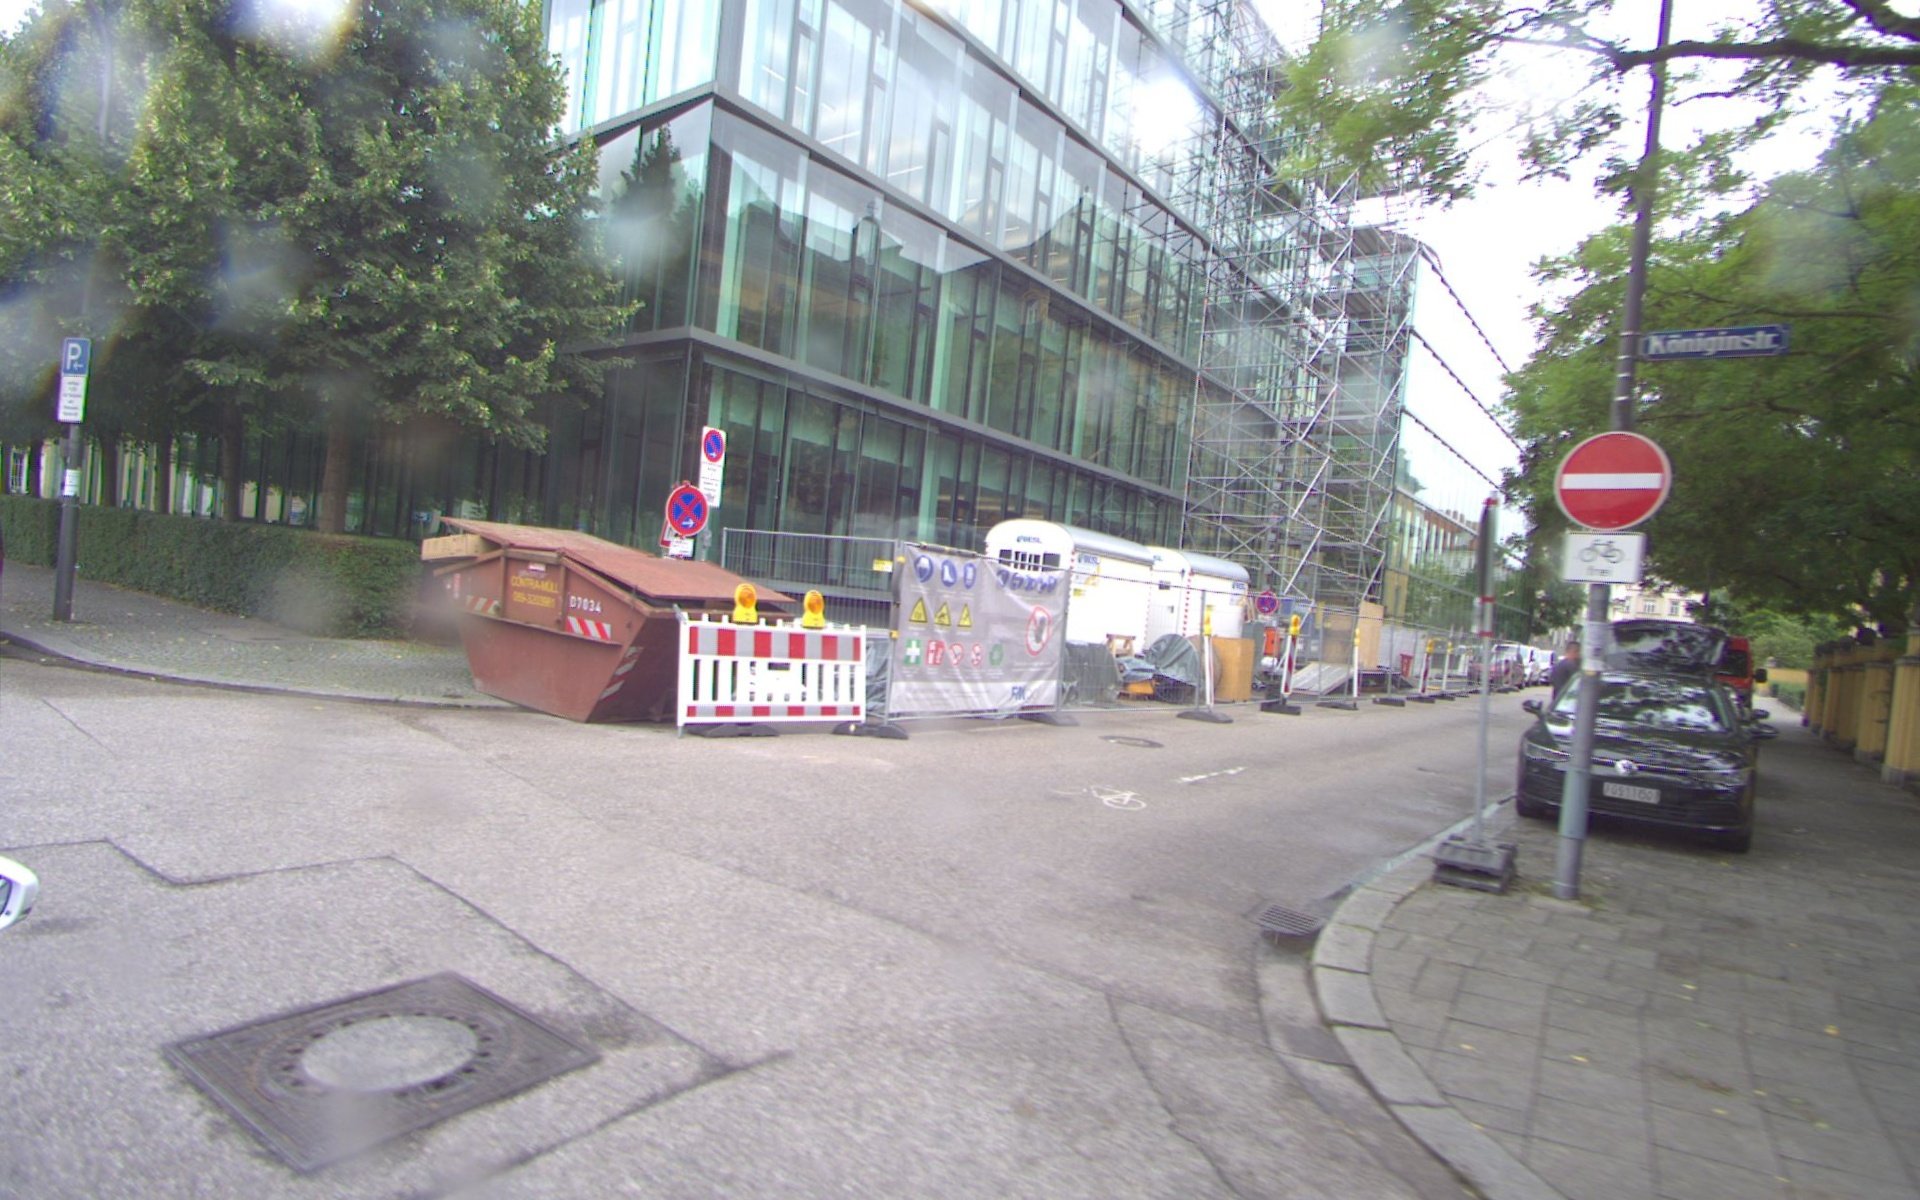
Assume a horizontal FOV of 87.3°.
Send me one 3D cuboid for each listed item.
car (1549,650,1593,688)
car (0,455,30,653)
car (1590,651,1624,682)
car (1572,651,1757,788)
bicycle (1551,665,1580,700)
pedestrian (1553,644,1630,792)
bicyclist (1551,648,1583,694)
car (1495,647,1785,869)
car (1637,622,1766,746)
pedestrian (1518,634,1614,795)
[{"bbox_3d":[42.326,4.781,69.663,1.970,2.140,4.511,6,-3,37],"label":"car"},{"bbox_3d":[-11.054,-0.674,9.908,4.072,1.846,1.762,7,0,33],"label":"car"},{"bbox_3d":[55.712,5.748,86.613,1.970,2.140,4.511,6,-3,37],"label":"car"},{"bbox_3d":[10.271,1.633,14.570,1.842,1.505,3.989,6,0,38],"label":"car"},{"bbox_3d":[22.384,3.056,37.154,0.751,1.156,2.257,6,-1,33],"label":"bicycle"},{"bbox_3d":[8.020,1.477,12.803,0.579,1.775,0.560,6,2,24],"label":"pedestrian"},{"bbox_3d":[22.438,2.624,37.171,0.798,1.595,0.974,7,1,34],"label":"bicyclist"},{"bbox_3d":[6.739,1.359,9.881,1.841,1.505,4.201,6,0,38],"label":"car"},{"bbox_3d":[18.105,2.003,24.494,2.123,2.493,5.672,5,0,38],"label":"car"},{"bbox_3d":[7.405,1.374,12.336,0.672,1.833,0.672,6,2,14],"label":"pedestrian"}]
